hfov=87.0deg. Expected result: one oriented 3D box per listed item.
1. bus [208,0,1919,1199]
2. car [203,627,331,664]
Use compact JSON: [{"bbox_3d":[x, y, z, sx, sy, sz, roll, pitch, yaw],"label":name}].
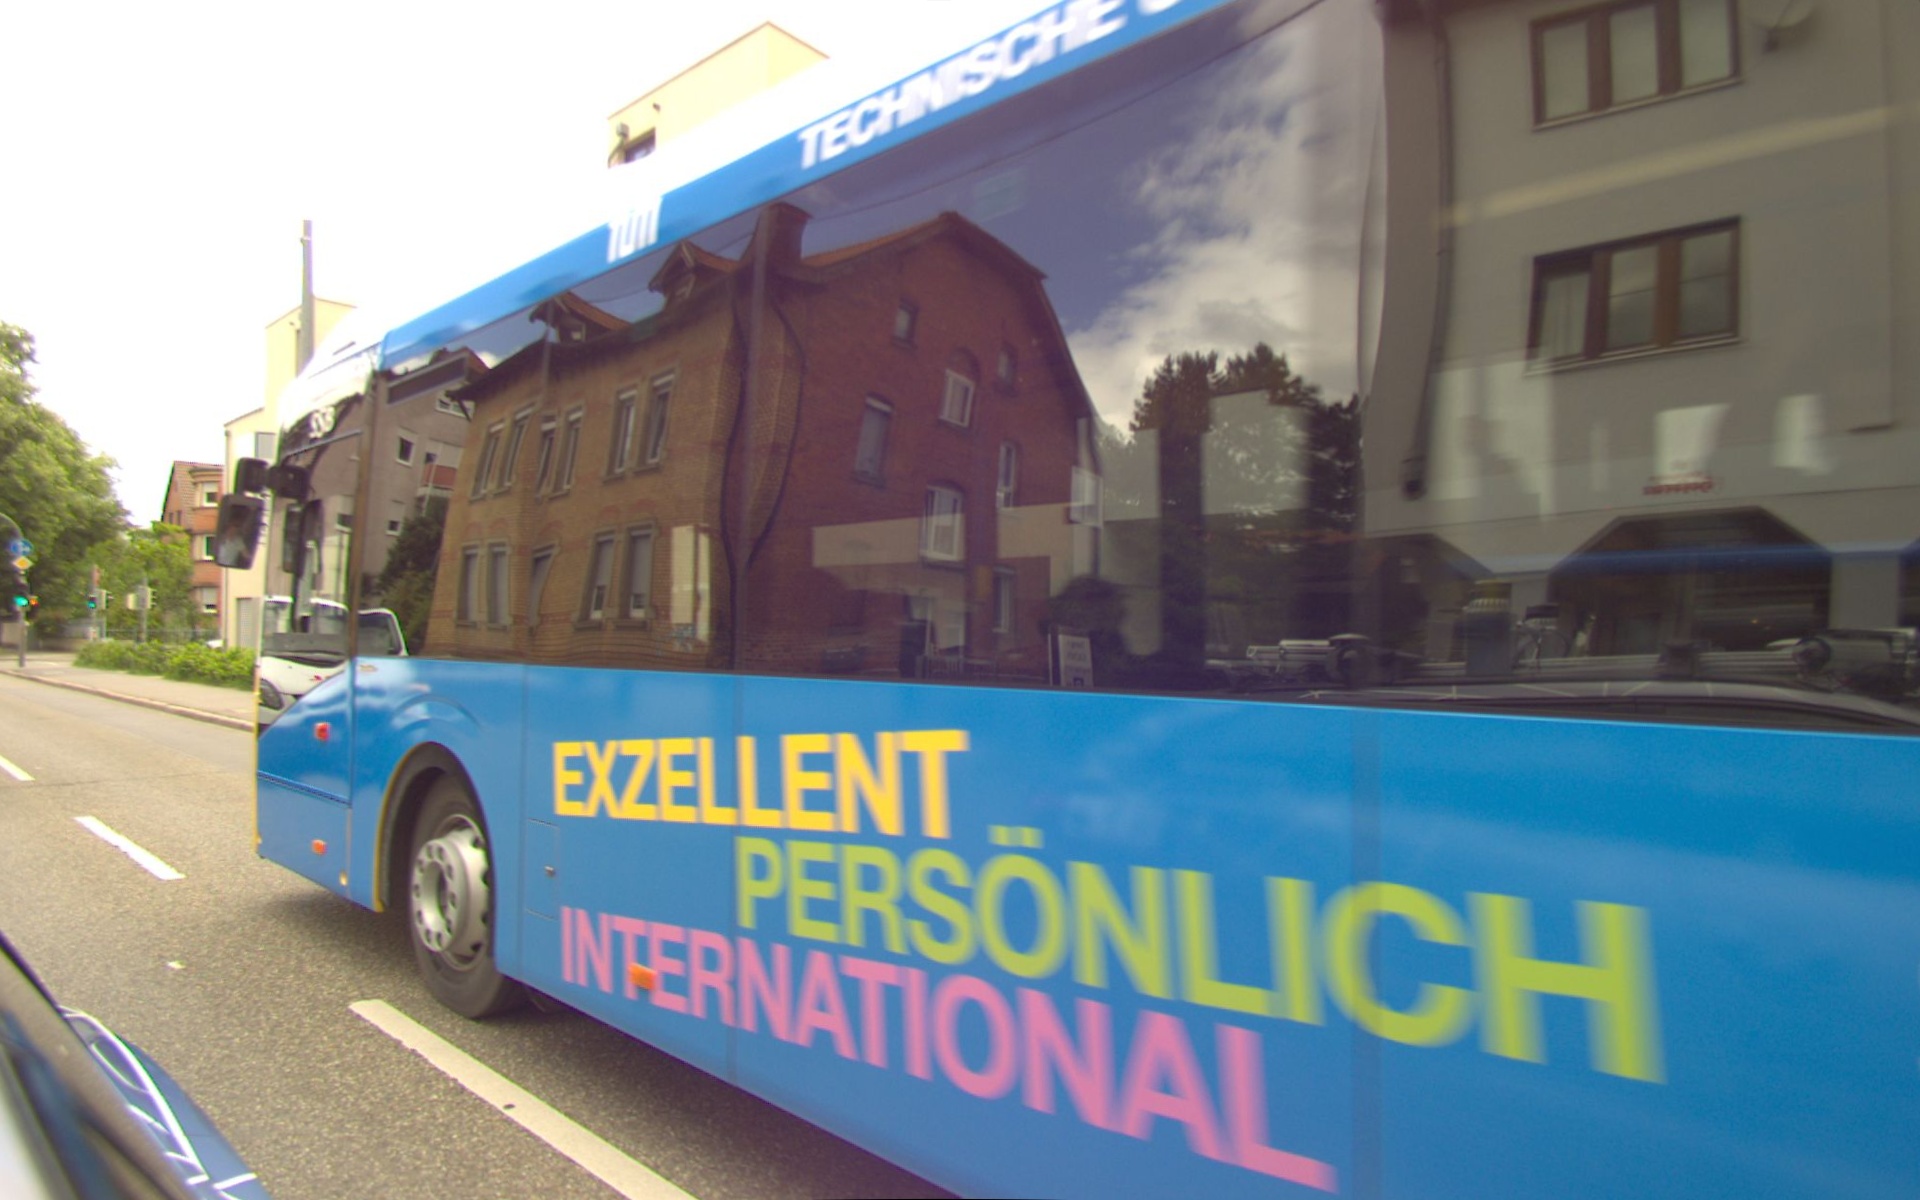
[{"bbox_3d":[1.489,-0.140,2.653,12.000,3.299,2.912,-2,-3,41],"label":"bus"},{"bbox_3d":[-34.063,2.188,49.847,2.171,1.698,4.756,-1,-2,36],"label":"car"}]
